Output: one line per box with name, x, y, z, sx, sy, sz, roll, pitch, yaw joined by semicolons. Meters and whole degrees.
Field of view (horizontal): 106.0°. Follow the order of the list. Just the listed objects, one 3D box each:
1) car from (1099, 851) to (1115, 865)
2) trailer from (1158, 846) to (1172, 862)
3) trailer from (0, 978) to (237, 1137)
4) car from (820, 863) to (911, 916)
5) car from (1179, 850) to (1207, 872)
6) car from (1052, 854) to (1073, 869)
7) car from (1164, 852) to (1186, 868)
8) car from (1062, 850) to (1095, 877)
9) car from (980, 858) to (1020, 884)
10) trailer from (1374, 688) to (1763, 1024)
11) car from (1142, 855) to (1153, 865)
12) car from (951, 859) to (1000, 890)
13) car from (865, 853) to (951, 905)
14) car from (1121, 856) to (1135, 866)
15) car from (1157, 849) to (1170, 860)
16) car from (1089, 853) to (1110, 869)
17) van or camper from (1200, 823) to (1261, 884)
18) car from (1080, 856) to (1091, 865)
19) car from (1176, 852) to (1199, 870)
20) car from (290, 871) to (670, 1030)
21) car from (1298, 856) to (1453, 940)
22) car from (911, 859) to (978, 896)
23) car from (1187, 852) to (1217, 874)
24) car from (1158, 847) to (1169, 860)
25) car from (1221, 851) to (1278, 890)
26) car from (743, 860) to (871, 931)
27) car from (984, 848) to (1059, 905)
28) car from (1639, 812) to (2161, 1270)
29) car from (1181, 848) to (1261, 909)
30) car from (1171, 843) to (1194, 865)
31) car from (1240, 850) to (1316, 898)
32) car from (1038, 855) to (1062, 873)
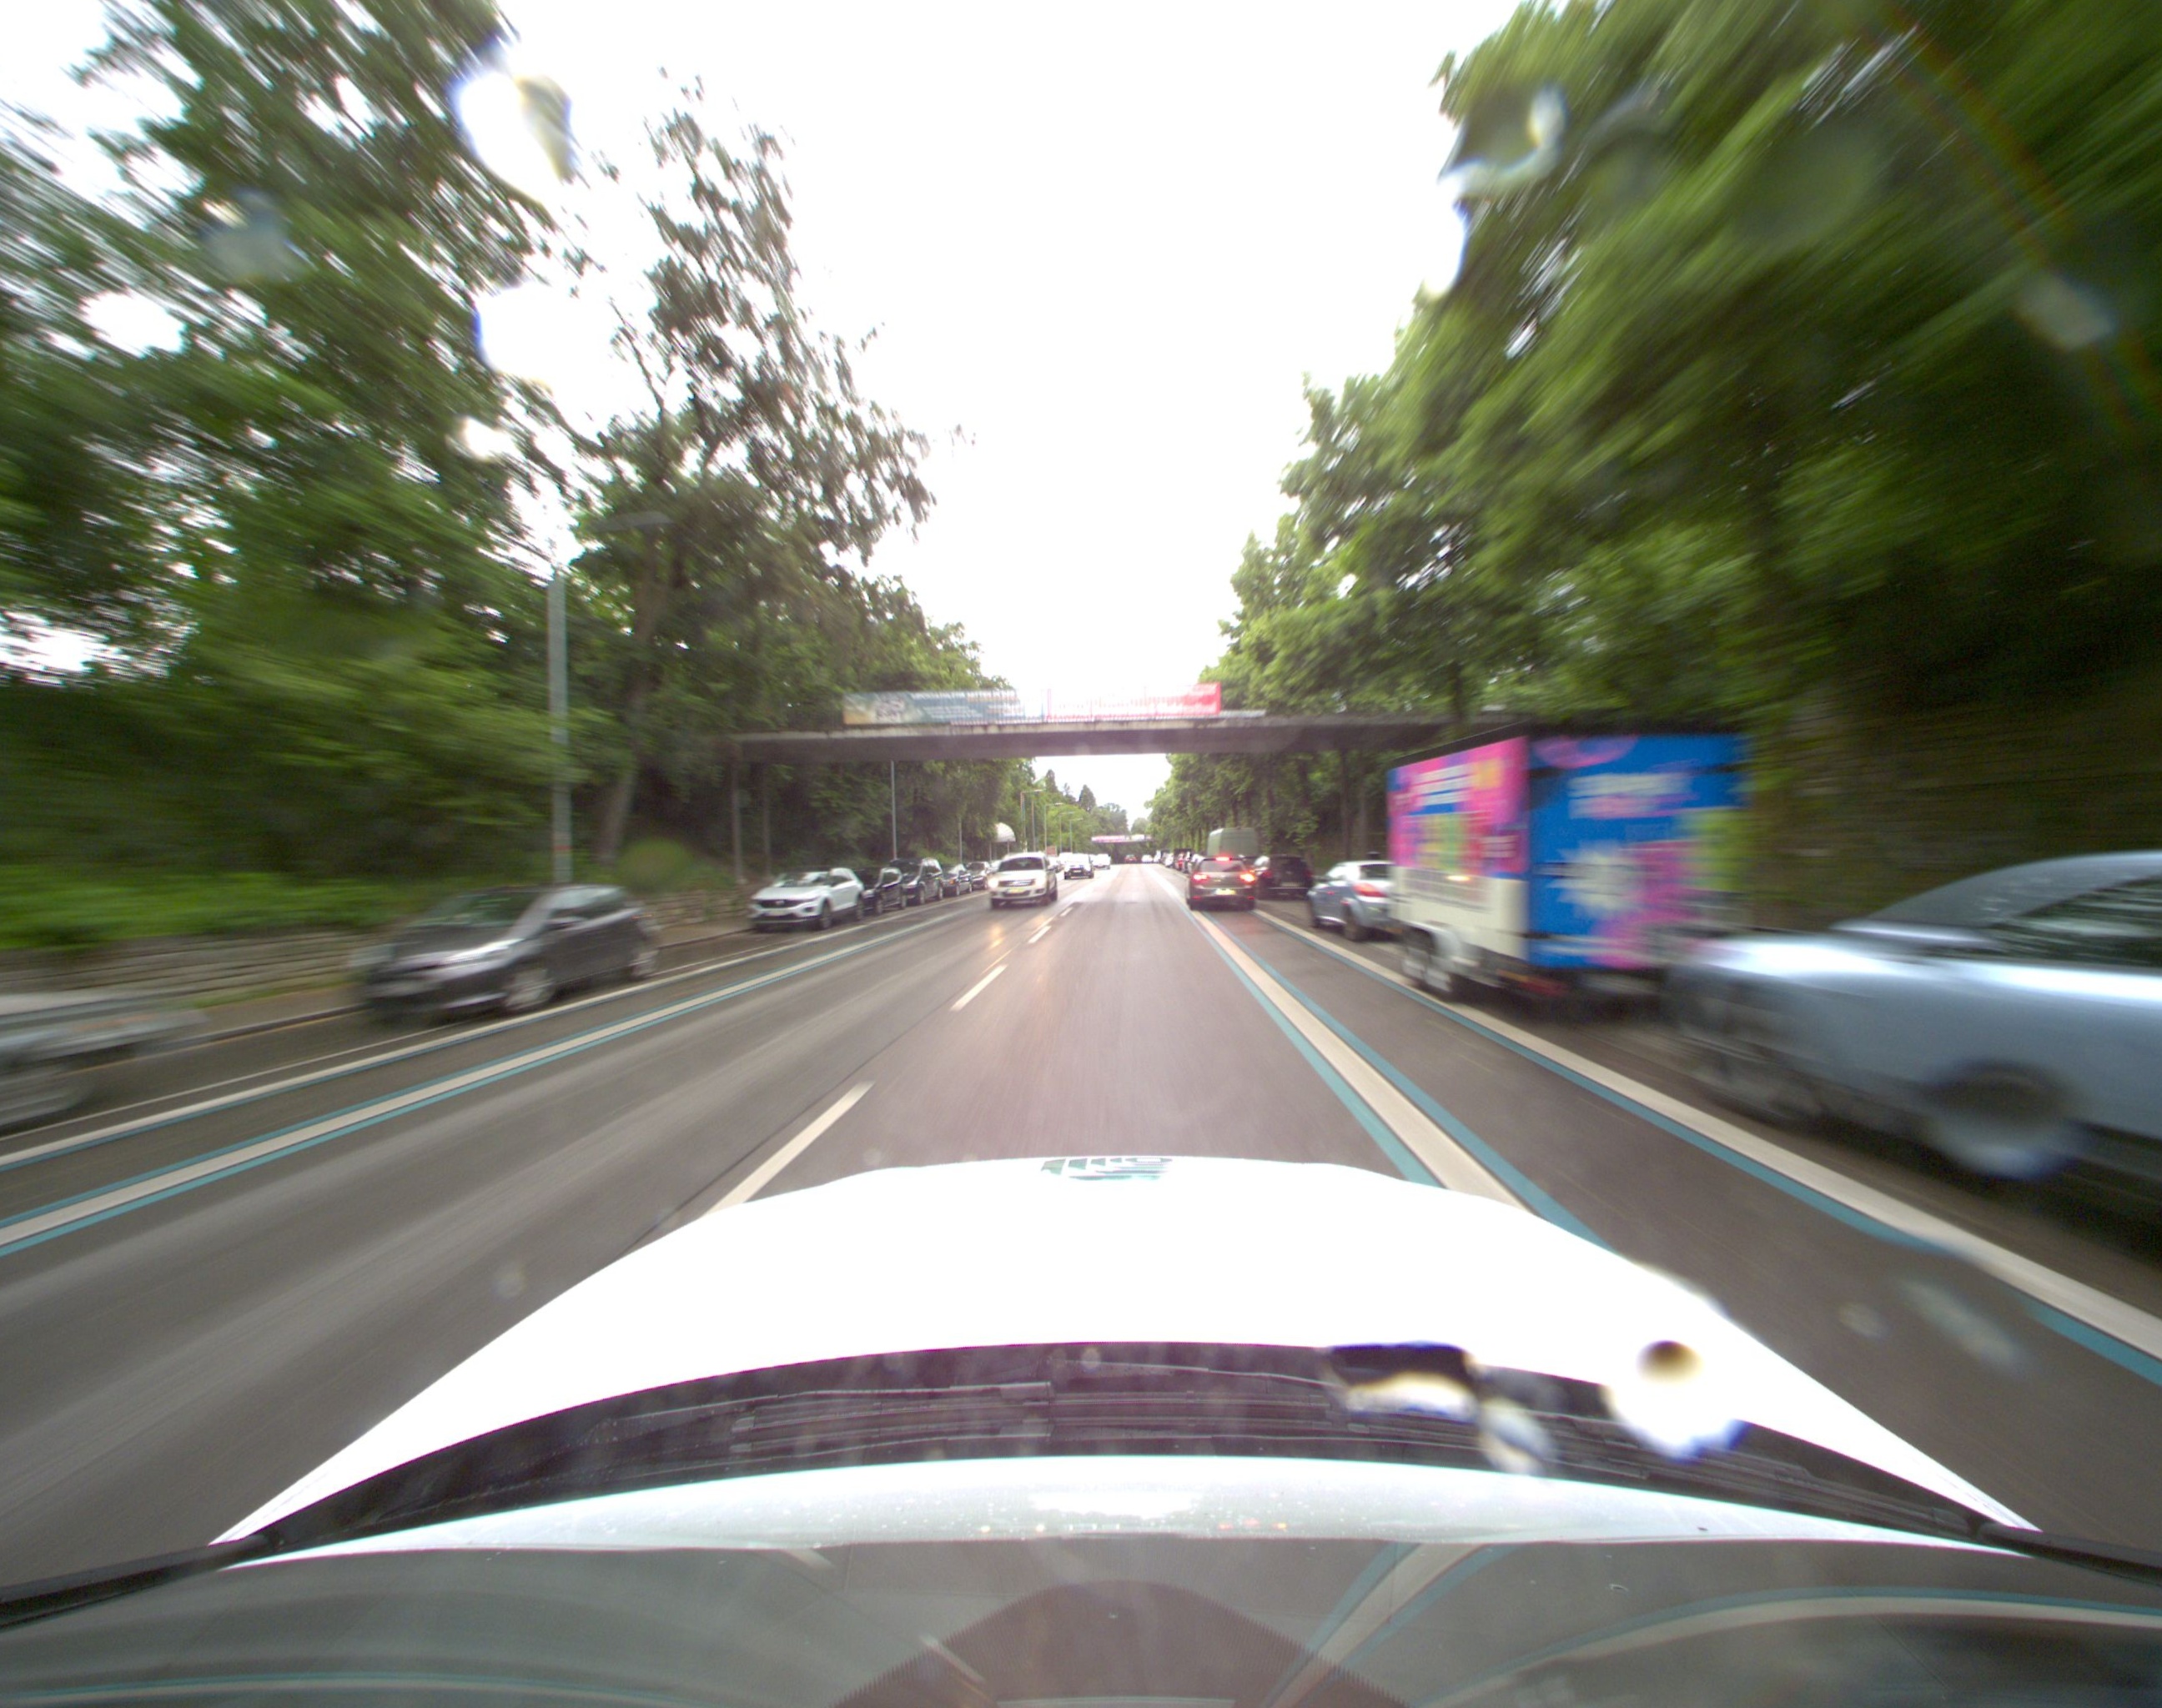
car;3.455;0.492;107.911;1.787;1.652;4.134;-3;0;4
trailer;12.646;0.004;122.318;1.875;2.166;3.812;-2;0;4
trailer;-7.879;1.471;5.156;1.537;0.819;3.307;-1;0;2
car;-6.720;1.058;25.792;1.602;1.439;3.847;-2;0;4
car;8.311;0.520;60.626;1.748;1.589;4.503;0;0;4
car;-2.159;0.899;96.803;1.981;1.605;4.991;-2;0;5
car;9.663;0.597;83.950;1.782;1.543;4.891;0;0;2
car;-0.122;0.602;55.089;1.958;1.627;4.324;-2;0;3
car;-4.945;1.017;50.315;1.949;1.463;4.757;-1;1;1
trailer;4.760;0.014;8.771;1.944;2.758;4.011;-1;0;3
car;11.398;1.068;139.694;1.724;1.583;4.040;-2;0;3
car;-5.522;1.048;43.012;1.777;1.423;4.299;-2;0;3
car;-6.480;0.877;31.095;1.982;1.742;4.842;-2;0;3
car;7.596;1.069;131.407;2.132;1.492;4.500;-1;0;2
car;12.763;0.035;126.592;1.724;1.583;4.158;-2;0;3
car;1.895;0.731;83.385;1.913;1.560;4.625;0;0;4
van or camper;7.180;-0.034;39.719;2.034;2.729;6.905;0;0;3
car;0.866;1.115;141.586;1.863;1.542;4.055;-2;0;1
car;8.902;0.572;68.185;1.678;1.453;4.170;0;0;4
car;-7.311;1.053;10.543;1.825;1.477;4.041;-2;0;1
car;5.311;0.720;15.210;1.578;1.353;3.863;0;0;1
car;-6.064;1.012;36.818;1.975;1.472;4.901;-1;1;3
car;8.187;0.578;55.404;1.678;1.456;4.150;0;0;4
car;14.056;-0.064;138.760;1.880;2.127;4.050;-1;0;5
car;6.637;0.623;32.378;1.678;1.416;4.104;-1;0;4
car;-6.994;1.004;21.298;1.681;1.546;4.236;-2;0;3
car;-1.805;0.656;26.155;1.826;1.666;4.184;-1;0;3
car;4.600;0.630;3.022;1.892;1.547;4.756;0;0;1
car;3.797;0.611;22.688;1.810;1.508;4.144;-1;0;4
car;9.784;0.019;79.015;1.918;2.022;4.668;-1;0;4
car;6.422;0.610;26.963;1.679;1.416;4.201;-2;0;3
car;-2.919;0.938;77.687;2.070;1.482;4.674;-2;0;1
